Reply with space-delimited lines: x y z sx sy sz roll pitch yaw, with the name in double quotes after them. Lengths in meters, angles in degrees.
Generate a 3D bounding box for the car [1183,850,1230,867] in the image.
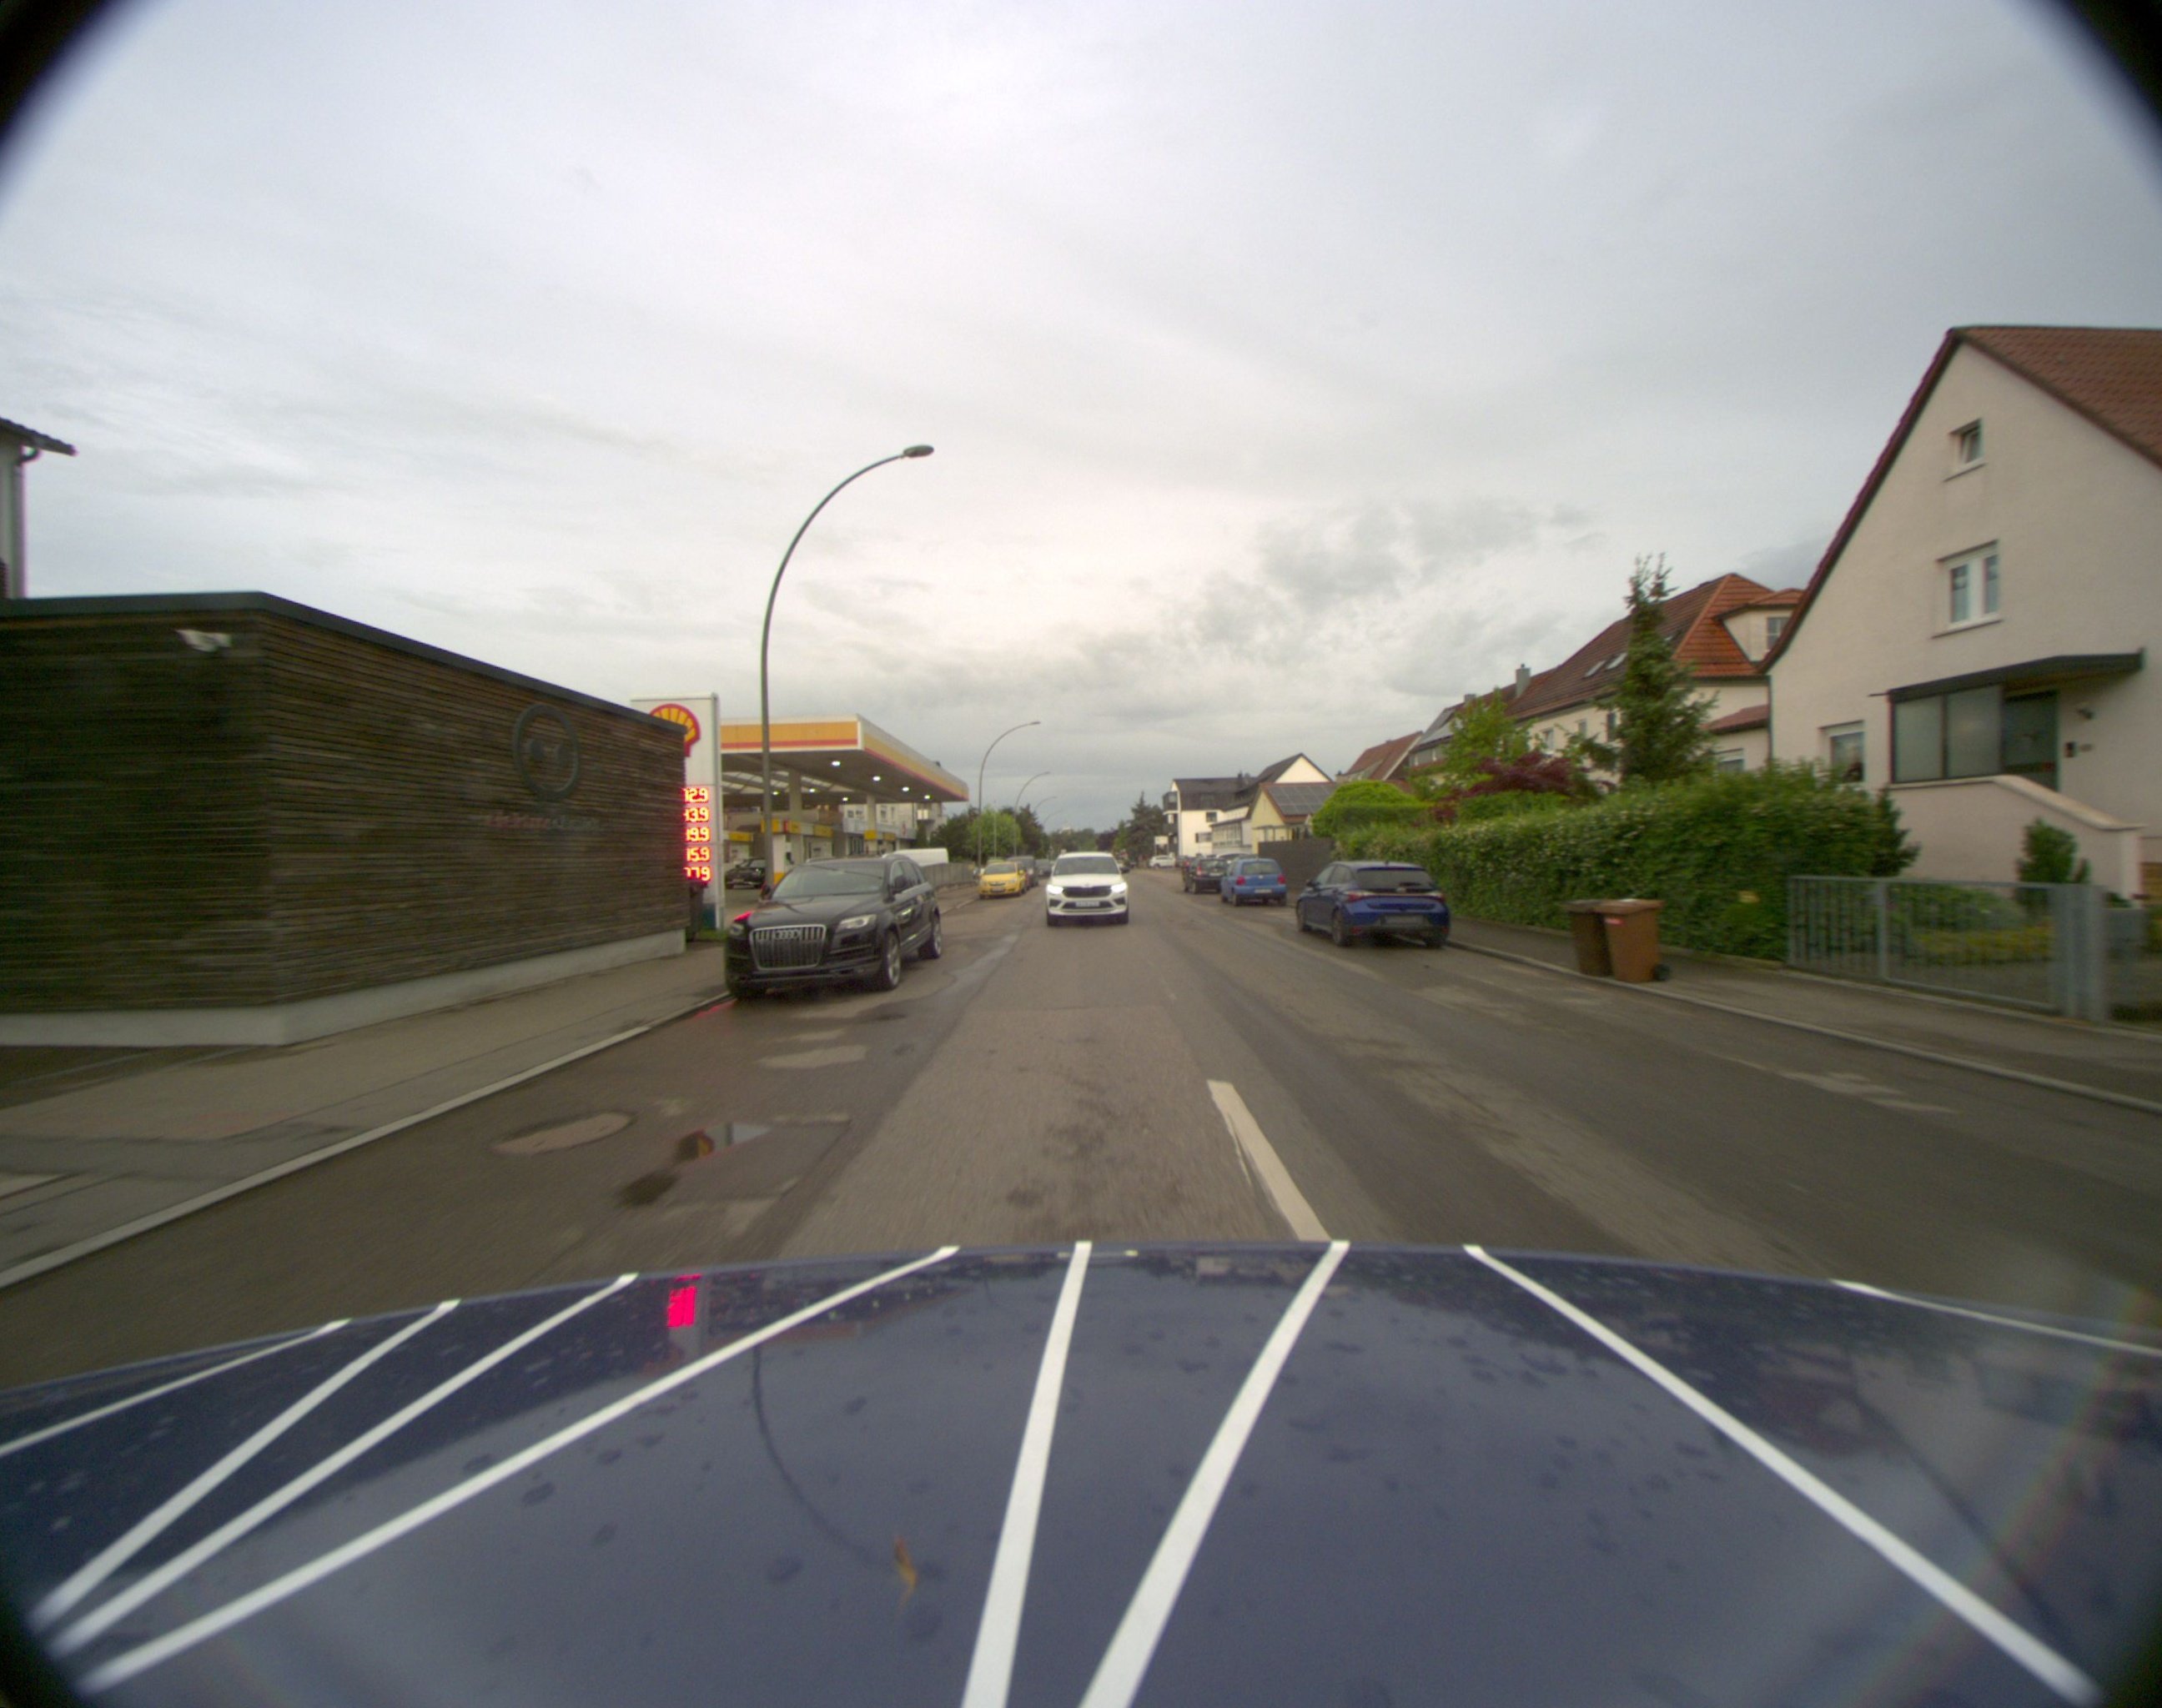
11.211 0.418 68.227 3.884 1.430 1.768 -1 0 -1 "car"

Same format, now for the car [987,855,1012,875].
-7.100 0.964 66.404 1.999 1.673 3.999 -2 0 -4 "car"

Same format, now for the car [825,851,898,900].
-8.503 0.800 29.754 1.824 1.749 3.999 1 0 -2 "car"

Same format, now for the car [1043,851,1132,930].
0.150 0.808 18.721 1.884 1.650 4.831 -1 0 0 "car"

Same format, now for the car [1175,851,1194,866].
12.564 0.514 92.597 1.824 1.521 4.001 -7 0 2 "car"

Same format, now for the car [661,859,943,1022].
-3.418 0.965 10.455 2.096 1.652 4.559 -3 -1 0 "car"

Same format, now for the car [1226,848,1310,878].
10.162 0.479 41.398 4.095 1.405 1.713 -3 0 -3 "car"

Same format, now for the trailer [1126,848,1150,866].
10.001 0.530 133.377 4.059 3.028 2.168 -2 1 1 "trailer"

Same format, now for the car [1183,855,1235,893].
5.371 0.803 32.207 1.612 1.497 3.707 0 0 0 "car"

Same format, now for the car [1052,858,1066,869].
-2.864 1.262 99.630 1.756 1.410 4.110 -1 0 0 "car"

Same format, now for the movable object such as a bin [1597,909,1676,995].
6.376 1.115 8.735 0.541 0.905 0.424 -4 1 -1 "movable object such as a bin"

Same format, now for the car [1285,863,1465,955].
5.185 0.898 13.995 1.811 1.395 3.944 0 0 0 "car"

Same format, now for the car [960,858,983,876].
-9.807 1.180 68.284 1.752 1.510 3.731 1 0 -4 "car"

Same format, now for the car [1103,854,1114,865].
5.998 1.195 167.546 2.264 2.275 4.531 1 0 0 "car"

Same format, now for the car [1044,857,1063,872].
-2.917 1.073 80.899 1.742 1.493 3.882 -3 0 2 "car"

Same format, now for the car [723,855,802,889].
-15.026 0.801 36.165 1.744 1.457 4.673 -2 0 0 "car"

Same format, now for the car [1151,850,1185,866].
11.114 0.533 97.680 3.997 1.637 2.000 -5 0 -2 "car"

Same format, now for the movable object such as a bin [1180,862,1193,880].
6.569 1.073 47.432 0.597 1.051 0.687 -6 -1 0 "movable object such as a bin"

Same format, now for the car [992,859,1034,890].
-3.266 0.967 37.154 1.660 1.368 4.024 -2 0 0 "car"

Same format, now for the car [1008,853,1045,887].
-3.066 0.851 43.172 1.660 1.728 4.444 -4 0 0 "car"

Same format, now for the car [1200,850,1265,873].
10.656 0.529 53.503 4.096 1.494 1.755 -2 0 -5 "car"

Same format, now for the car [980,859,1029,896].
-3.199 0.962 32.433 1.660 1.393 3.801 -2 0 0 "car"

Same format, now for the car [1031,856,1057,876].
-3.071 1.003 64.046 1.999 1.586 4.000 -1 0 -1 "car"

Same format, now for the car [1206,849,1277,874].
10.397 0.472 49.334 4.095 1.505 1.883 -2 0 -4 "car"

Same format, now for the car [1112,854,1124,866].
6.615 1.108 137.371 1.998 2.112 4.755 -1 0 1 "car"

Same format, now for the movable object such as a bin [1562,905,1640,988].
6.305 1.114 9.223 0.541 0.905 0.505 -4 1 -1 "movable object such as a bin"

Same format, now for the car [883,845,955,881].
-11.912 0.647 55.919 4.809 2.506 2.244 -2 0 -21 "car"

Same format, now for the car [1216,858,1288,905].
5.467 0.846 24.681 1.549 1.395 3.597 0 0 0 "car"

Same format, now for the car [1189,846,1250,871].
10.474 0.341 57.650 4.096 1.522 2.001 -2 -6 -5 "car"

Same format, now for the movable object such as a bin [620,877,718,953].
-7.898 1.144 14.647 1.105 1.332 1.384 -1 0 -2 "movable object such as a bin"

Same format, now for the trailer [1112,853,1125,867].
5.834 0.913 118.083 1.722 2.114 4.007 -2 0 0 "trailer"

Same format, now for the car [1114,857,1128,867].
5.854 1.151 111.303 1.740 1.496 3.871 -1 0 1 "car"
